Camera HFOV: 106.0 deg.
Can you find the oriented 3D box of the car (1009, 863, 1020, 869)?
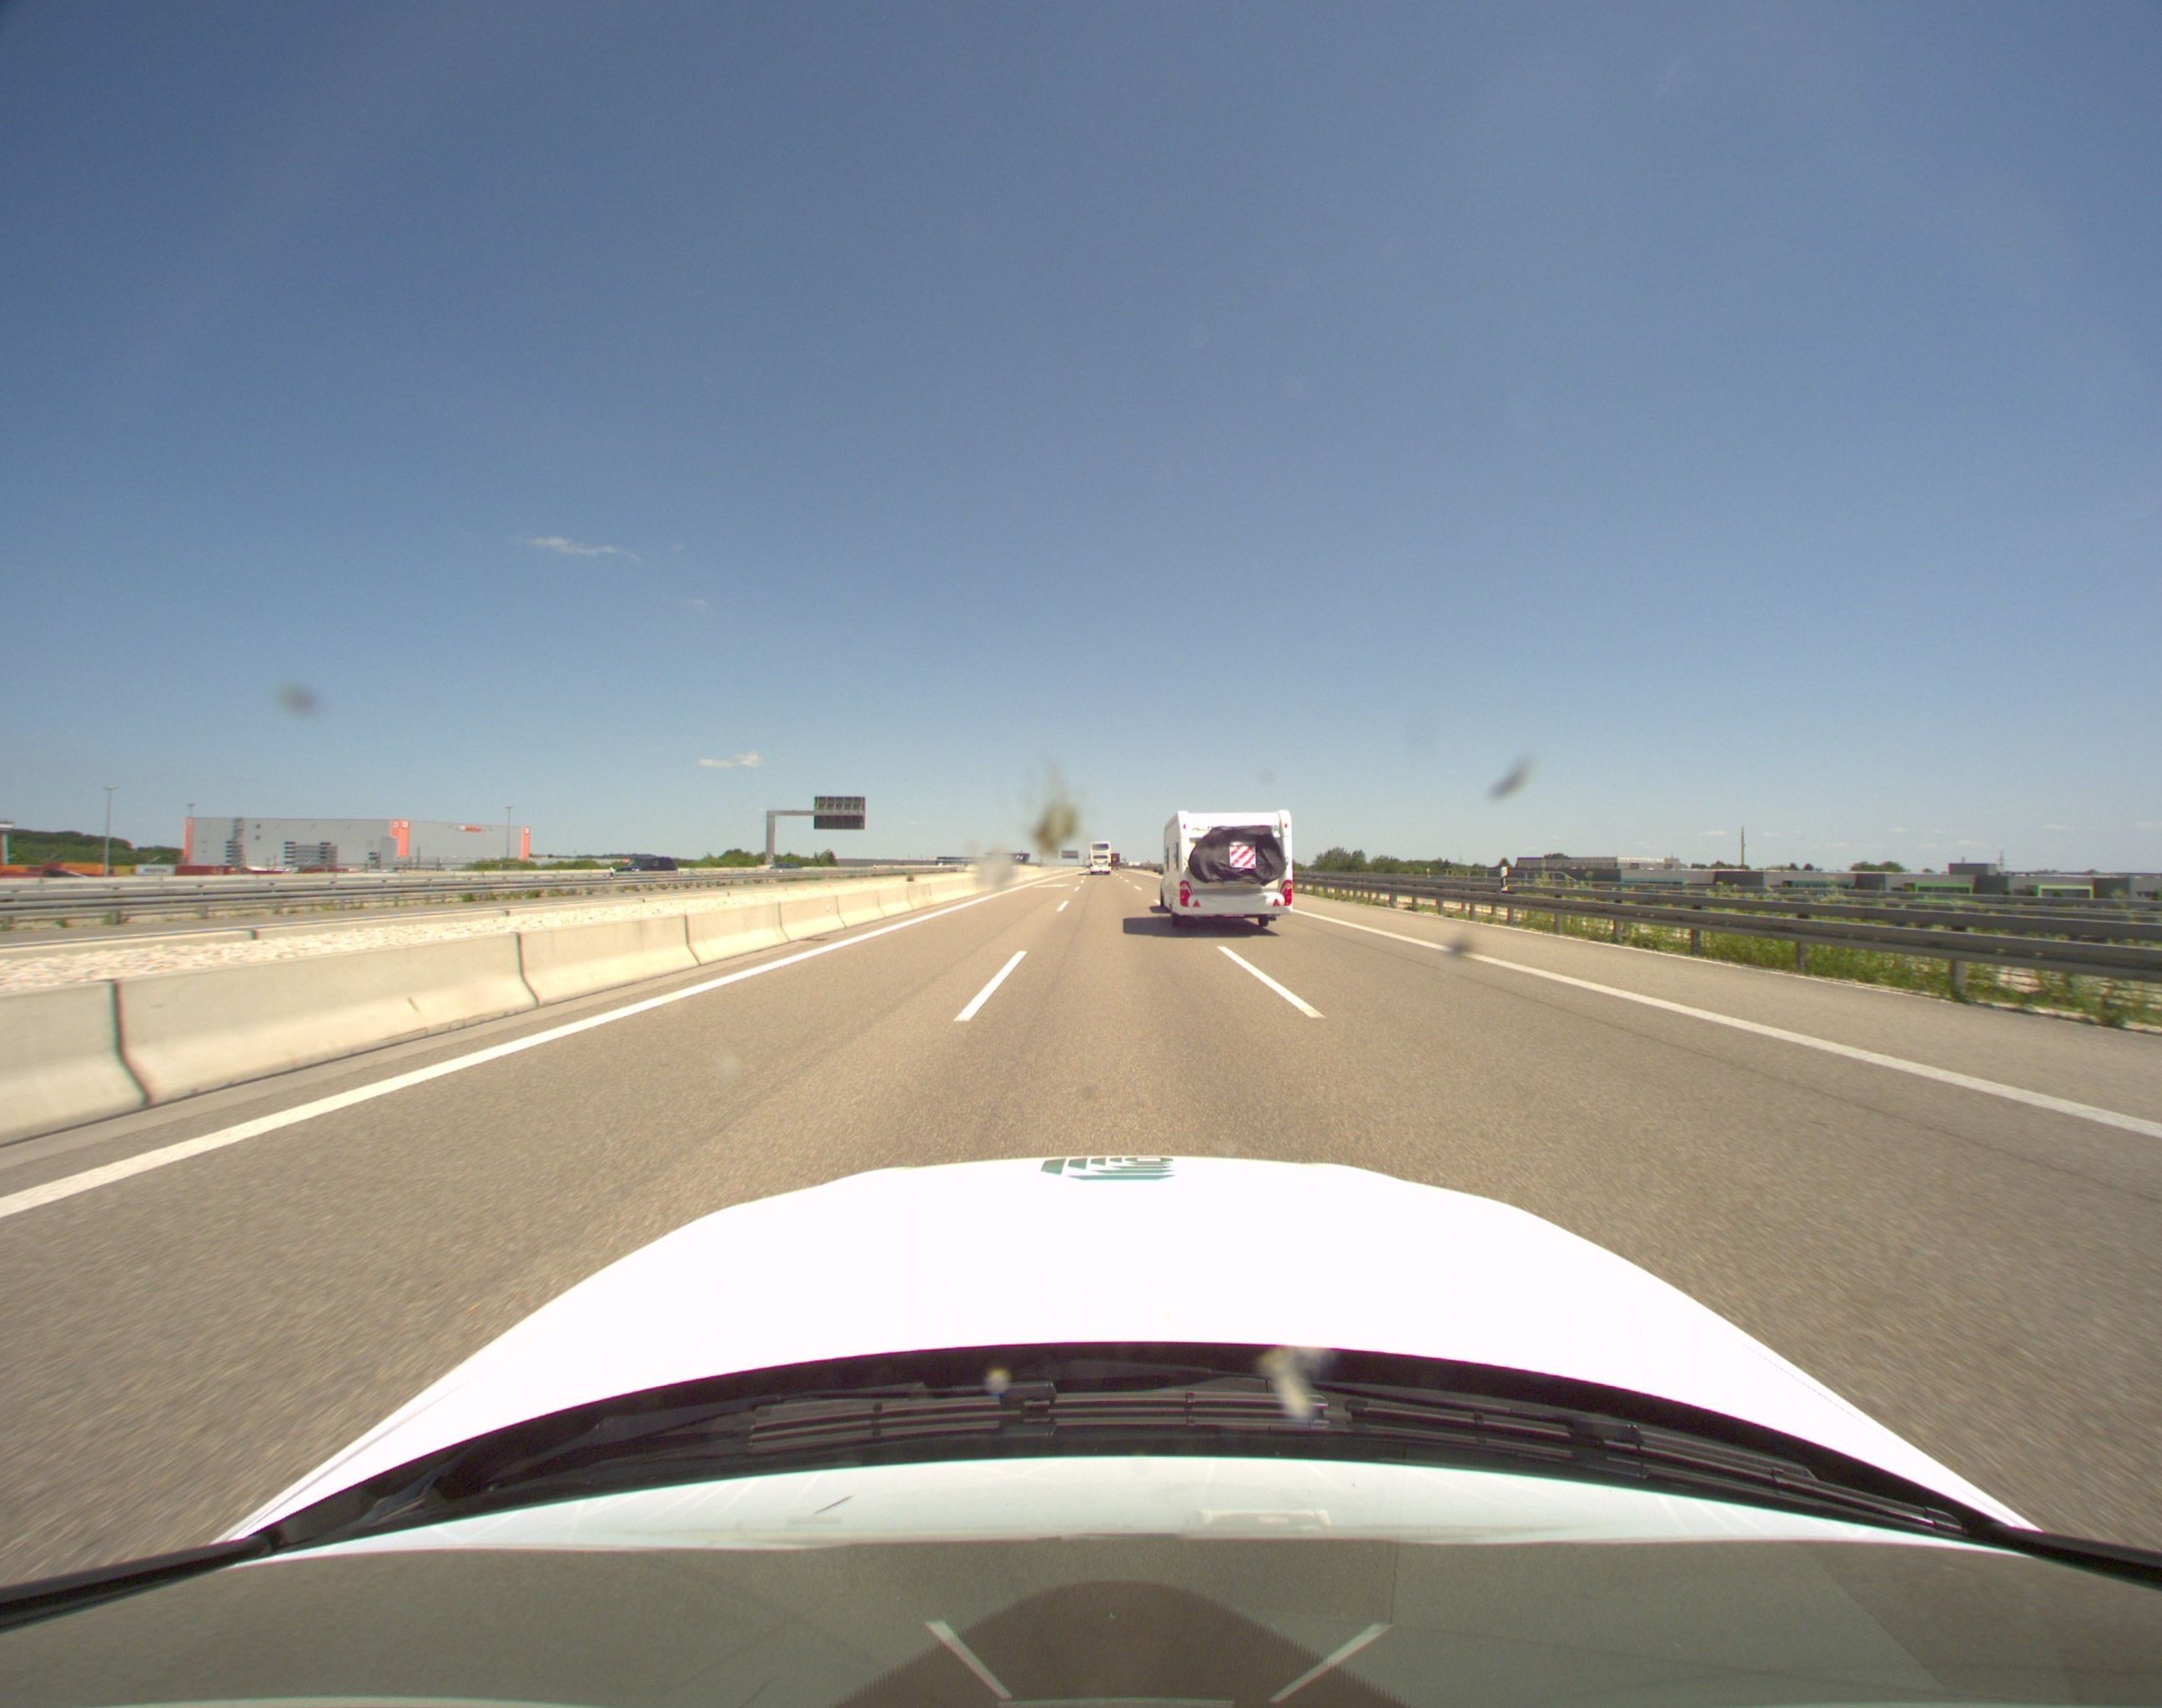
[{"bbox_3d":[-14.827,2.665,181.651,1.803,1.435,4.442,0,-1,1],"label":"car"}]

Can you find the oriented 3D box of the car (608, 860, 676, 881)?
[{"bbox_3d":[-29.736,1.112,55.318,1.985,1.379,4.366,0,0,4],"label":"car"}]

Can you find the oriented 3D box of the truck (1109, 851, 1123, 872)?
[{"bbox_3d":[8.852,2.003,206.301,3.366,4.465,13.571,0,-3,3],"label":"truck"}]

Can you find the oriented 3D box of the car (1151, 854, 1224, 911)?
[{"bbox_3d":[3.256,0.823,25.682,1.873,1.623,4.907,0,0,3],"label":"car"}]

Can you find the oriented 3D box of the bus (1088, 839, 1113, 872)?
[{"bbox_3d":[2.427,0.250,103.184,2.971,3.975,9.102,0,0,0],"label":"bus"}]

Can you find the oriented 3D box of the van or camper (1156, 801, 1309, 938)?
[{"bbox_3d":[3.243,0.316,19.409,2.502,2.593,7.822,0,0,3],"label":"van or camper"}]
